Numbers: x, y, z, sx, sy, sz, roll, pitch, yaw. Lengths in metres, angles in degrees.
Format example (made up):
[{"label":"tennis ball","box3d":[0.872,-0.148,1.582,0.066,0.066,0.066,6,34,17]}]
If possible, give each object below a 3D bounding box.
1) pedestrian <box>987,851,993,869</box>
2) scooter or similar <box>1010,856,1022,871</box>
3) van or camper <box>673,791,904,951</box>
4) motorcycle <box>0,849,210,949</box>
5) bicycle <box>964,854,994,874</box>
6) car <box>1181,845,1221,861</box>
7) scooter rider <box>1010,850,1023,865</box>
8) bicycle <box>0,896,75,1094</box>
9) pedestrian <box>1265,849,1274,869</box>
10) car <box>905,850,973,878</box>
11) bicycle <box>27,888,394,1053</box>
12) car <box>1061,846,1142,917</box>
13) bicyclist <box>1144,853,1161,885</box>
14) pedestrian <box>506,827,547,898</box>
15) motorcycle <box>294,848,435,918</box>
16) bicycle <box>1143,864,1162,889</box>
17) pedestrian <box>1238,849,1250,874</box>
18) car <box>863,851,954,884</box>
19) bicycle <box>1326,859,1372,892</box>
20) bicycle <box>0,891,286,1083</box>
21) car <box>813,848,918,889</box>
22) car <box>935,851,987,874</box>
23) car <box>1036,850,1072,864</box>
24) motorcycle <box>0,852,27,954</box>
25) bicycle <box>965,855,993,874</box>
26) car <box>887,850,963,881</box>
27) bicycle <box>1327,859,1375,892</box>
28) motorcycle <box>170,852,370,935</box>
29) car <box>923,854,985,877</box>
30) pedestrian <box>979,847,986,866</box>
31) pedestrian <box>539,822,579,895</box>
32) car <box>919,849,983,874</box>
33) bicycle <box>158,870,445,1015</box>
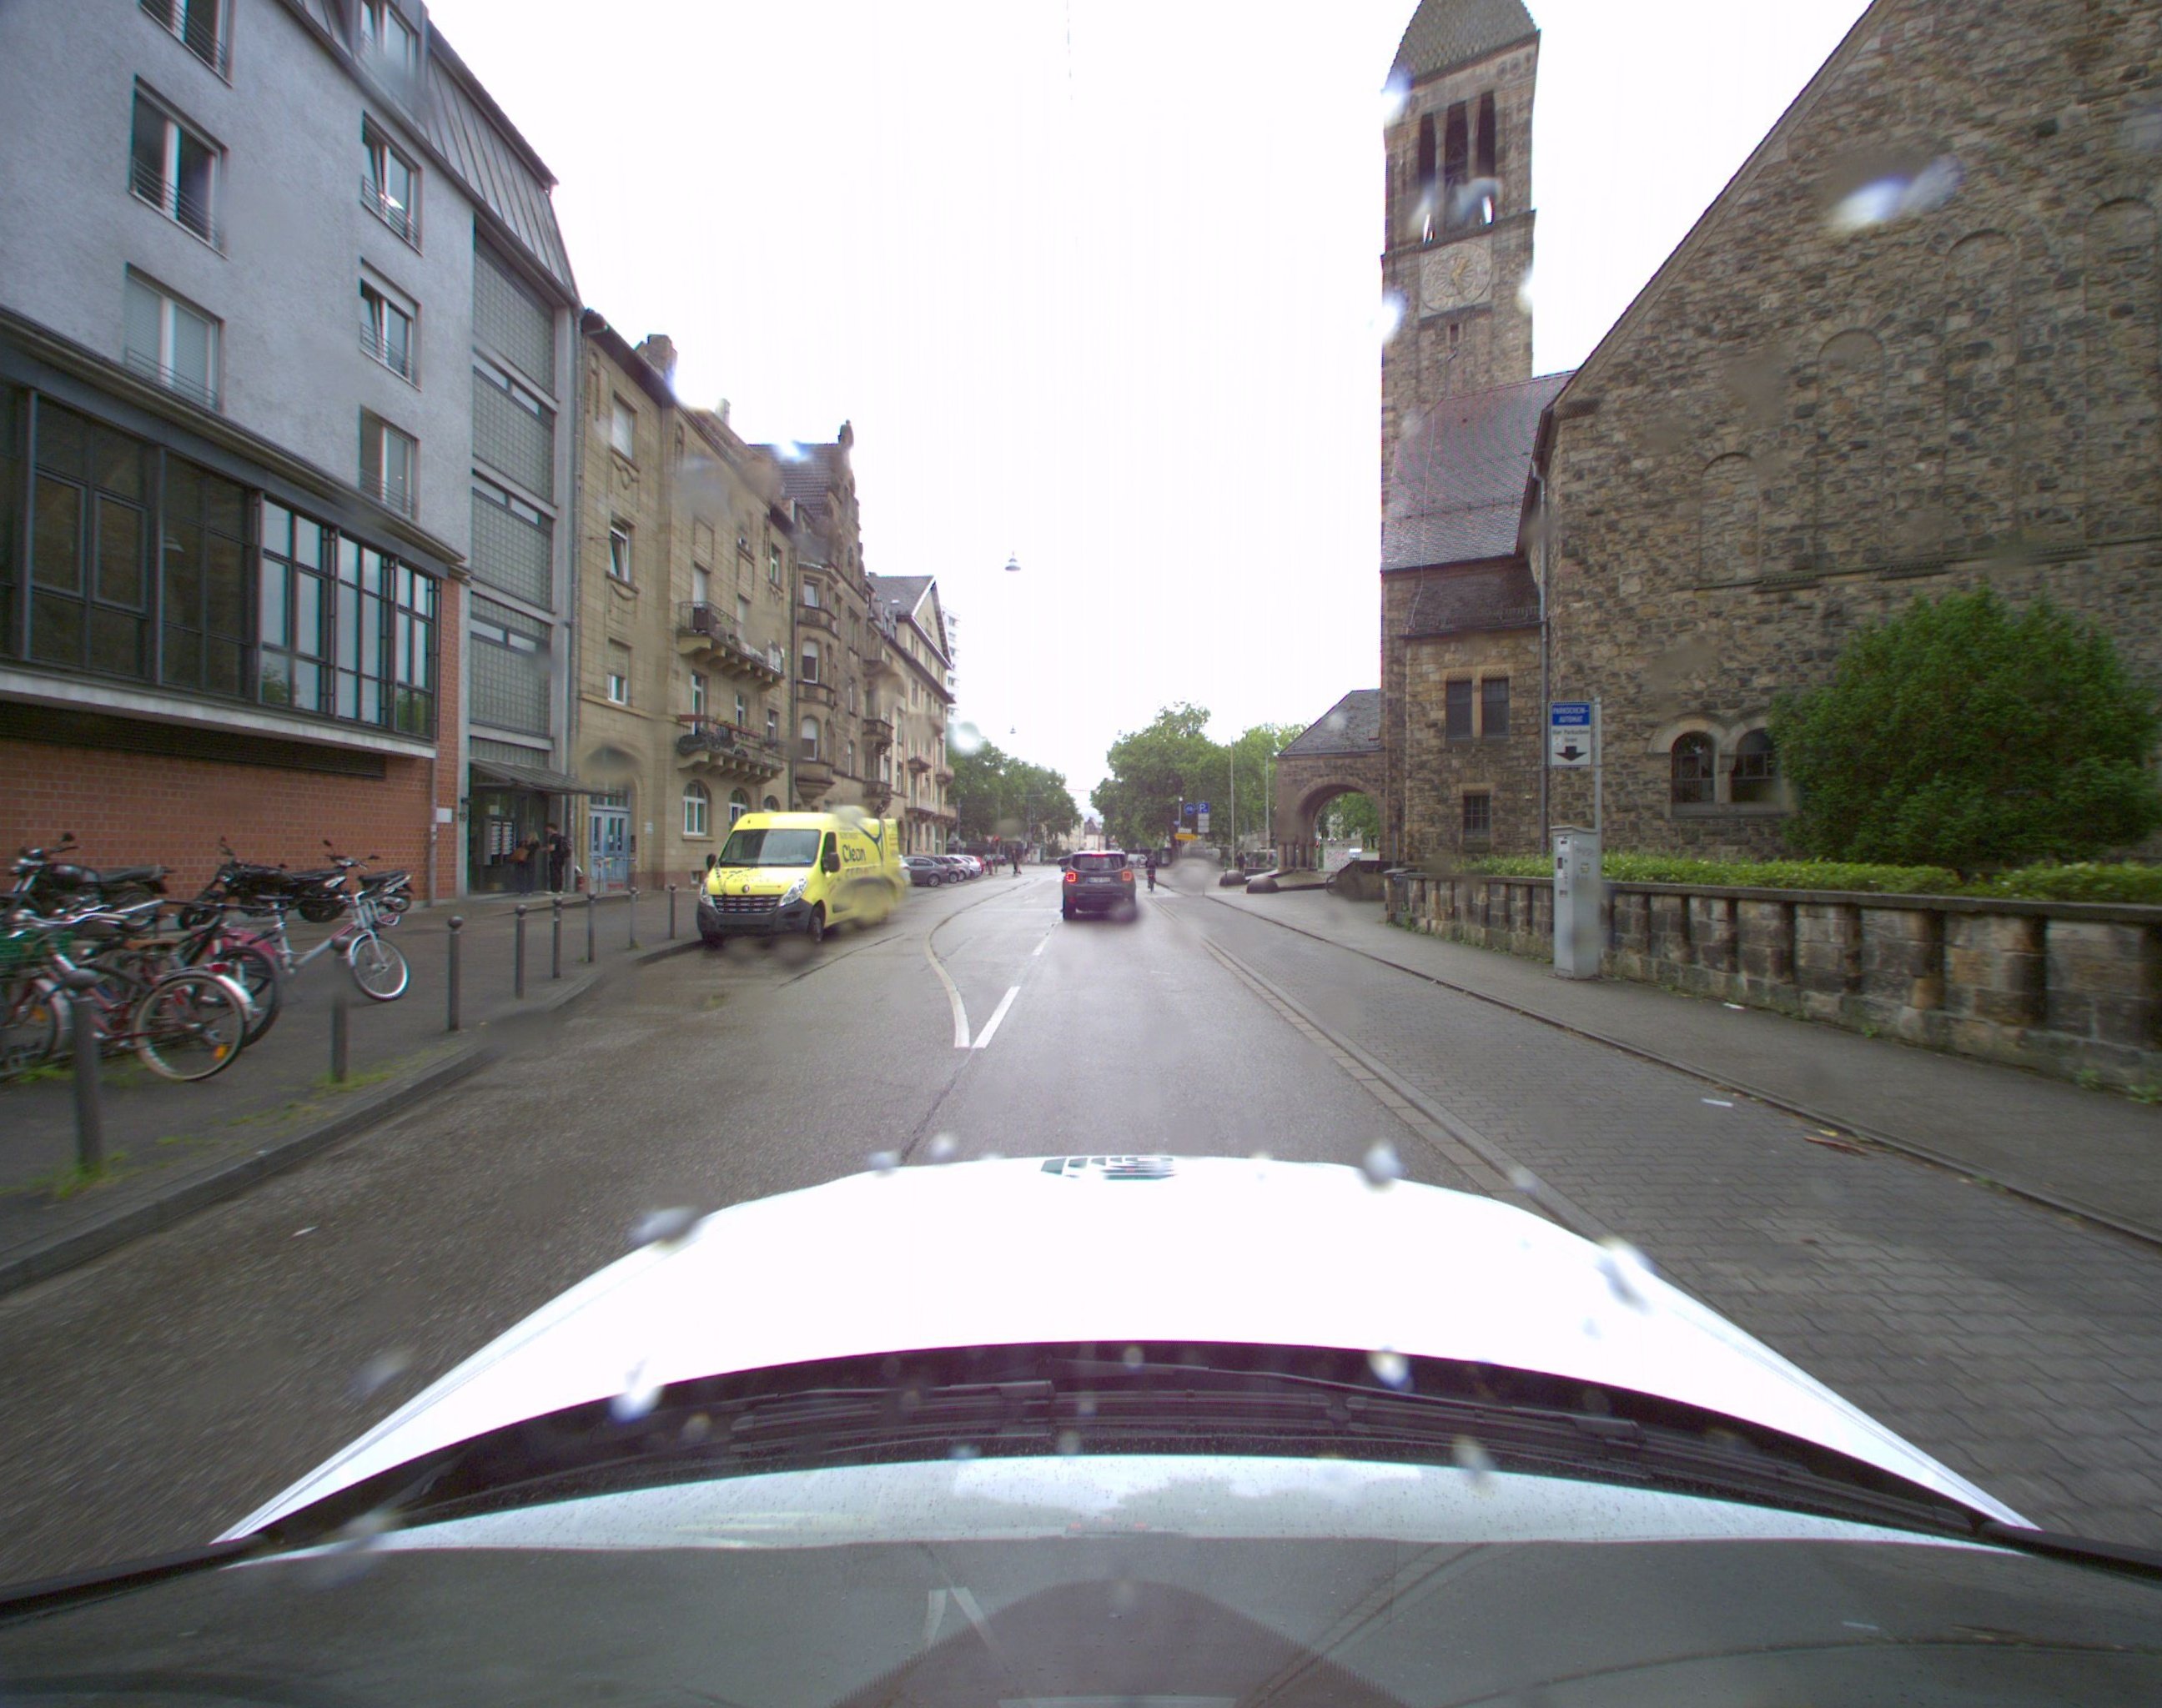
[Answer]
[{"label":"pedestrian","box3d":[-8.046,0.494,71.816,0.466,1.585,0.752,0,0,0]},{"label":"scooter or similar","box3d":[-5.186,0.765,65.298,0.848,1.212,0.986,-1,-2,1]},{"label":"van or camper","box3d":[-5.599,0.395,16.941,2.114,2.531,6.874,-3,-2,1]},{"label":"motorcycle","box3d":[-13.060,0.537,10.798,0.751,1.174,2.114,3,0,-3]},{"label":"bicycle","box3d":[-7.594,0.751,60.597,2.116,1.444,0.536,-1,0,-20]},{"label":"car","box3d":[18.027,-0.153,122.608,5.877,2.334,2.062,-1,0,4]},{"label":"scooter rider","box3d":[-5.180,0.287,65.314,0.877,1.220,0.984,0,-2,1]},{"label":"bicycle","box3d":[-7.099,0.795,4.716,1.907,1.097,0.507,2,0,1]},{"label":"pedestrian","box3d":[16.226,0.445,70.145,0.676,1.711,0.696,-1,0,19]},{"label":"car","box3d":[-8.372,0.597,48.069,3.520,1.518,1.866,2,-1,-33]},{"label":"bicycle","box3d":[-6.492,0.847,6.133,2.109,1.097,0.594,2,0,1]},{"label":"car","box3d":[0.480,0.650,21.332,1.892,1.671,4.505,0,0,0]},{"label":"bicyclist","box3d":[3.173,0.646,36.243,0.702,1.403,1.171,-1,0,1]},{"label":"pedestrian","box3d":[-13.407,0.189,19.703,0.663,1.675,0.790,-1,0,-23]},{"label":"motorcycle","box3d":[-12.885,0.509,14.717,0.566,1.174,1.790,2,0,24]},{"label":"bicycle","box3d":[3.173,0.977,36.240,0.702,1.054,1.813,-1,0,1]},{"label":"pedestrian","box3d":[10.956,0.508,54.839,0.688,1.711,0.684,-1,0,1]},{"label":"car","box3d":[-8.273,0.652,39.197,3.873,1.479,1.863,2,-1,-40]},{"label":"bicycle","box3d":[9.195,0.747,27.918,1.474,1.102,0.365,-1,0,21]},{"label":"bicycle","box3d":[-6.547,0.827,5.308,2.125,1.097,0.594,2,0,1]},{"label":"car","box3d":[-8.625,0.597,32.719,3.680,1.558,1.780,2,-1,-35]},{"label":"car","box3d":[-8.433,0.586,57.110,3.267,1.558,1.519,2,-1,-33]},{"label":"car","box3d":[-3.217,0.315,97.016,3.846,1.611,1.550,-1,0,21]},{"label":"motorcycle","box3d":[-12.986,0.561,8.645,0.750,1.174,2.116,3,0,2]},{"label":"bicycle","box3d":[-7.715,0.784,61.590,2.099,1.444,0.487,-1,0,-20]},{"label":"car","box3d":[-8.589,0.639,44.872,3.680,1.558,1.789,2,-1,-36]},{"label":"bicycle","box3d":[9.105,0.733,27.510,1.510,1.102,0.365,-1,0,21]},{"label":"motorcycle","box3d":[-12.744,0.581,12.919,0.748,1.174,2.123,3,0,13]},{"label":"car","box3d":[-7.993,0.732,51.179,3.436,1.316,1.761,2,-1,-33]},{"label":"pedestrian","box3d":[-8.659,0.222,71.694,0.466,1.585,0.659,0,0,0]},{"label":"pedestrian","box3d":[-12.787,0.108,19.966,0.663,1.757,0.790,-1,0,-23]},{"label":"car","box3d":[-8.577,0.521,53.807,3.755,1.558,1.655,2,-1,-33]},{"label":"bicycle","box3d":[-7.194,0.788,7.664,1.820,1.213,0.624,3,-2,-35]}]
